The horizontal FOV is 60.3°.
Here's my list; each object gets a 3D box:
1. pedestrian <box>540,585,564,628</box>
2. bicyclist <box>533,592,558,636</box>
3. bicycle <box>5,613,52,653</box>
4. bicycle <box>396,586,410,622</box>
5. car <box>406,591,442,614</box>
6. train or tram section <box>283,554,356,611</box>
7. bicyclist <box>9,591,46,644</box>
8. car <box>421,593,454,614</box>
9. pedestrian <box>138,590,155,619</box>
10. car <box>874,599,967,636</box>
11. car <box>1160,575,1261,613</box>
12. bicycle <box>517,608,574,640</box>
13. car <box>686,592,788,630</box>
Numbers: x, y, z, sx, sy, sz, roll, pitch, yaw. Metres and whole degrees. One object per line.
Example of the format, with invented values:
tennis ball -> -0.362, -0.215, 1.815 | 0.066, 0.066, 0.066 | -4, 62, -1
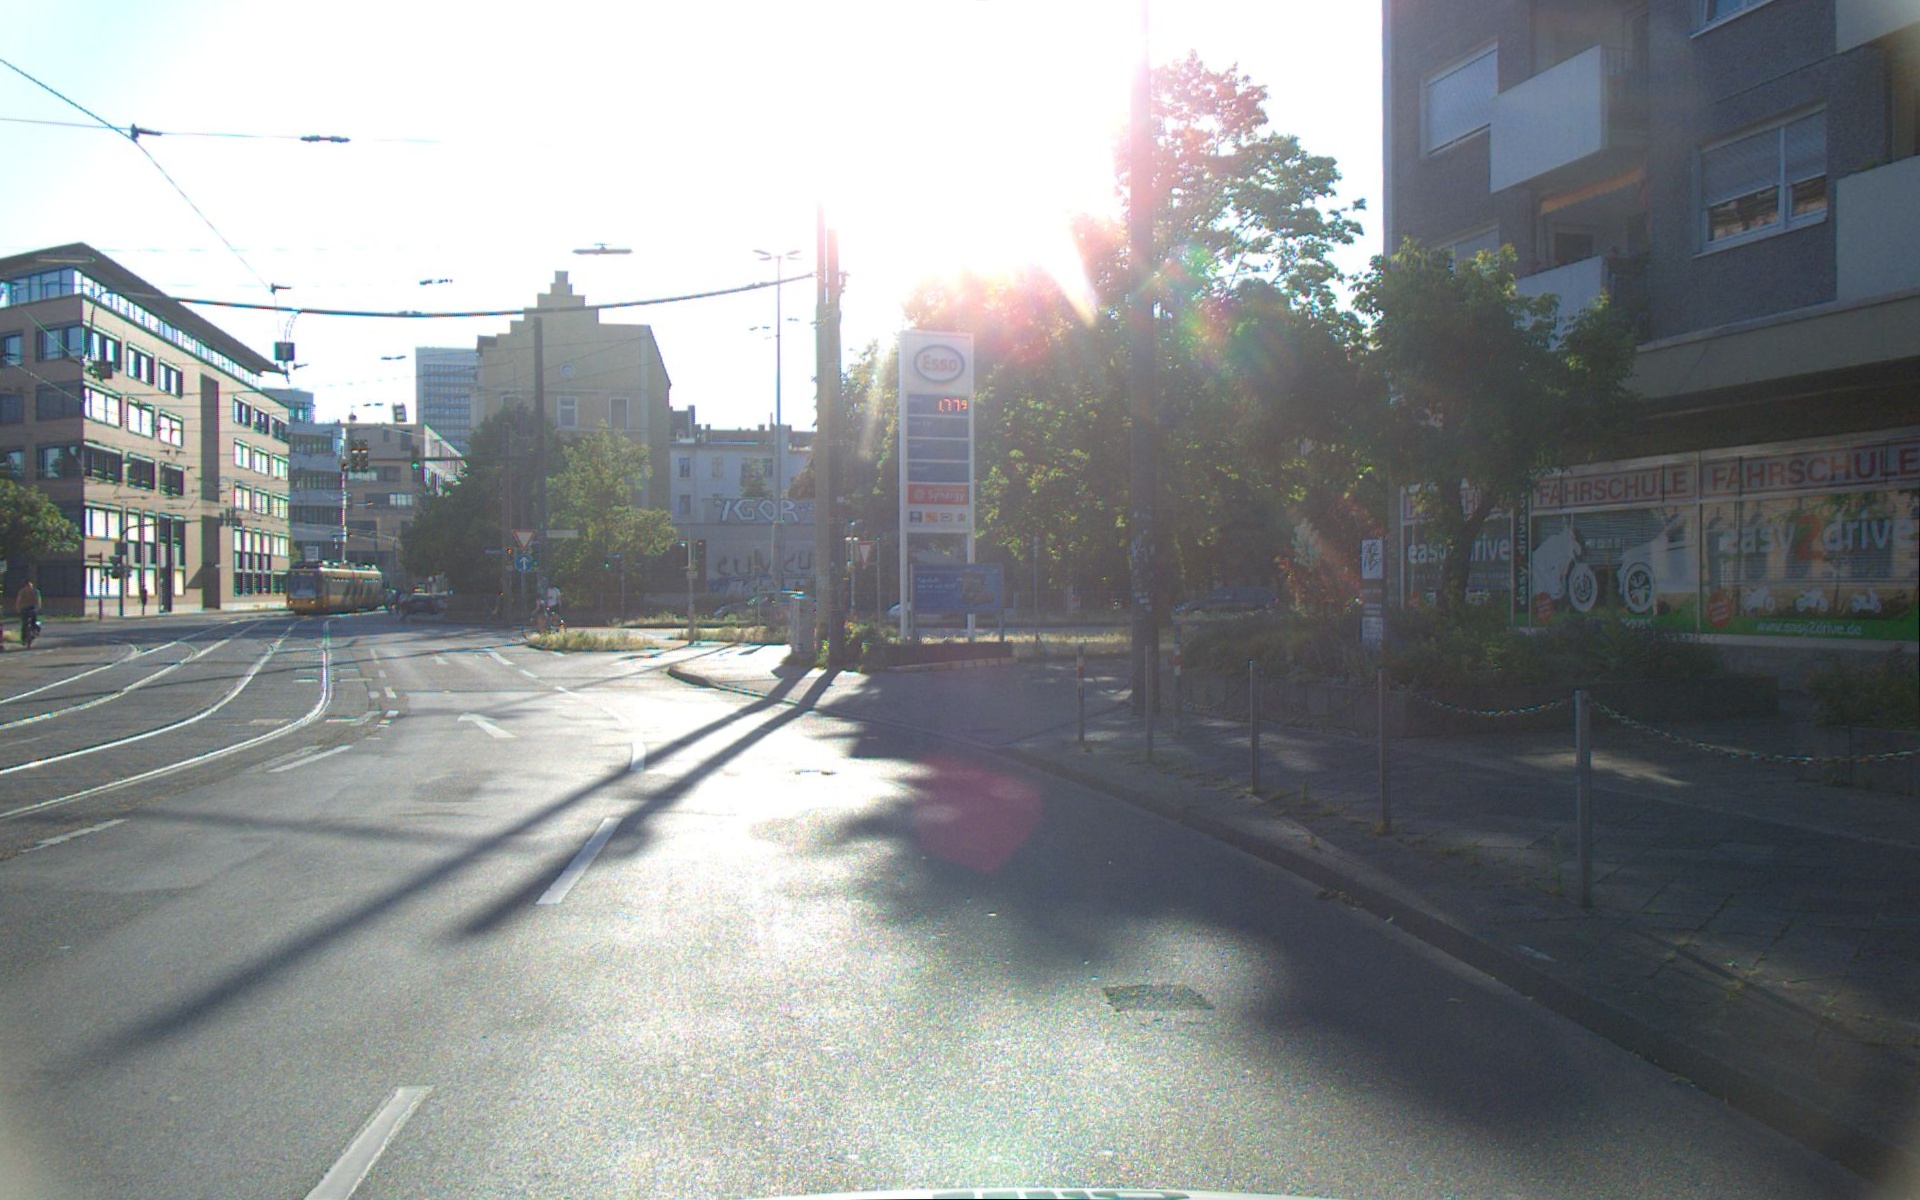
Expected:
pedestrian -> -16.305, 0.259, 66.085 | 0.910, 1.721, 0.775 | -1, 0, -13
bicyclist -> -13.765, 0.459, 54.901 | 0.791, 1.438, 0.621 | -1, 0, -16
bicycle -> -27.752, 0.968, 49.289 | 0.933, 1.117, 1.985 | -1, 0, -22
bicycle -> -29.096, 0.210, 86.390 | 0.558, 1.838, 1.348 | -1, 0, -24
car -> -37.082, 0.164, 114.432 | 1.959, 1.489, 3.987 | -1, 0, -13
train or tram section -> -43.915, -1.117, 113.825 | 2.201, 3.637, 14.237 | -1, 0, -11
bicyclist -> -27.772, 0.520, 49.281 | 0.831, 1.540, 0.796 | -1, 0, -22
car -> -39.216, 0.246, 124.248 | 1.959, 1.512, 3.987 | -1, 0, -13
pedestrian -> -52.506, 0.276, 106.804 | 0.791, 1.874, 0.734 | -1, 0, -11
car -> -1.696, 0.745, 71.900 | 3.904, 1.534, 1.673 | -1, 0, 1
car -> 10.308, -0.246, 68.190 | 3.906, 1.478, 1.687 | -1, 0, -1
bicycle -> -13.767, 0.793, 54.887 | 1.803, 1.002, 0.731 | -1, 0, -17
car -> -9.205, 0.462, 68.444 | 3.904, 1.478, 1.810 | -1, 0, 2
